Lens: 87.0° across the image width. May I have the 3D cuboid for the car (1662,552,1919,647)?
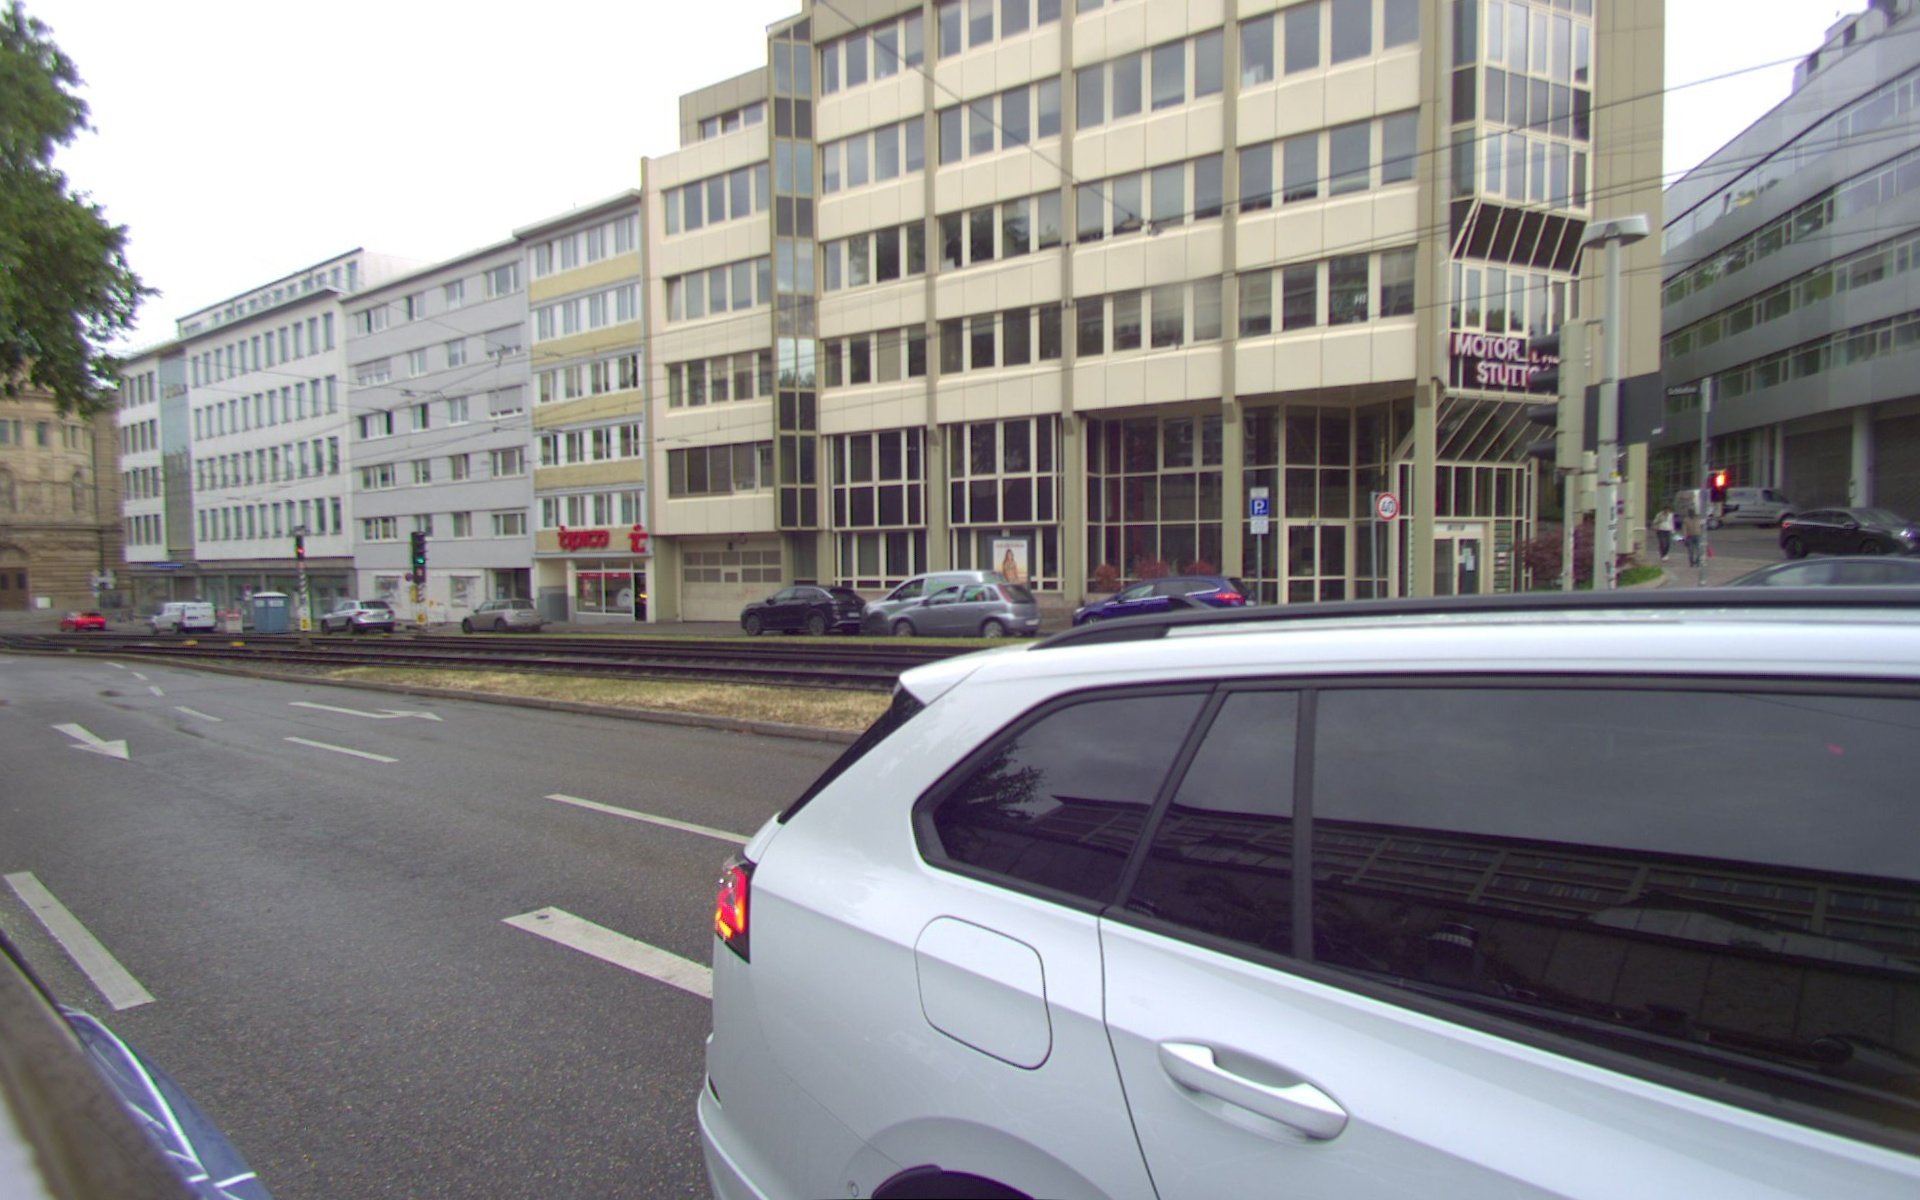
[{"bbox_3d":[13.643,-0.007,16.102,3.853,1.367,1.617,-1,2,28],"label":"car"}]

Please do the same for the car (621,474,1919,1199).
[{"bbox_3d":[1.605,0.621,1.162,4.473,1.453,1.777,-1,0,41],"label":"car"}]

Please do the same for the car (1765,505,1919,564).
[{"bbox_3d":[27.521,-2.066,31.015,1.974,1.591,4.884,-2,5,3],"label":"car"}]

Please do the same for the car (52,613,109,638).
[{"bbox_3d":[-62.221,1.777,71.552,4.465,1.636,1.869,-1,3,34],"label":"car"}]

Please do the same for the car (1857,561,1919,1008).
[{"bbox_3d":[5.294,0.573,2.560,4.473,1.453,1.777,-1,0,41],"label":"car"}]

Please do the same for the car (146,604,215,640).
[{"bbox_3d":[-46.562,1.288,60.449,4.465,1.949,1.869,-1,3,34],"label":"car"}]

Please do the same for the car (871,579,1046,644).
[{"bbox_3d":[-0.063,0.261,23.796,3.861,1.367,1.614,-1,2,34],"label":"car"}]

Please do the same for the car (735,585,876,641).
[{"bbox_3d":[-4.725,0.379,30.755,4.066,1.524,1.782,-1,3,34],"label":"car"}]

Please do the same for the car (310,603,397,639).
[{"bbox_3d":[-28.321,0.948,47.207,4.066,1.524,1.869,-1,3,34],"label":"car"}]

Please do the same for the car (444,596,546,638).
[{"bbox_3d":[-18.724,0.665,40.706,4.066,1.524,1.782,-1,3,34],"label":"car"}]

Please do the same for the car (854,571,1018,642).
[{"bbox_3d":[-0.684,0.170,27.866,4.204,1.759,1.782,-1,2,33],"label":"car"}]

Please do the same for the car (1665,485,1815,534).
[{"bbox_3d":[37.616,-4.344,48.943,5.357,2.029,1.993,-1,0,12],"label":"car"}]

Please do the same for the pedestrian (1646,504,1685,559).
[{"bbox_3d":[21.754,-2.105,31.216,0.711,1.651,0.759,-2,3,6],"label":"pedestrian"}]

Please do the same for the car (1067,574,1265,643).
[{"bbox_3d":[4.809,0.193,23.852,4.207,1.488,1.780,-1,0,35],"label":"car"}]

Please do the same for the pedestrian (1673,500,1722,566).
[{"bbox_3d":[20.891,-1.887,28.677,0.821,1.800,0.759,-2,3,6],"label":"pedestrian"}]
